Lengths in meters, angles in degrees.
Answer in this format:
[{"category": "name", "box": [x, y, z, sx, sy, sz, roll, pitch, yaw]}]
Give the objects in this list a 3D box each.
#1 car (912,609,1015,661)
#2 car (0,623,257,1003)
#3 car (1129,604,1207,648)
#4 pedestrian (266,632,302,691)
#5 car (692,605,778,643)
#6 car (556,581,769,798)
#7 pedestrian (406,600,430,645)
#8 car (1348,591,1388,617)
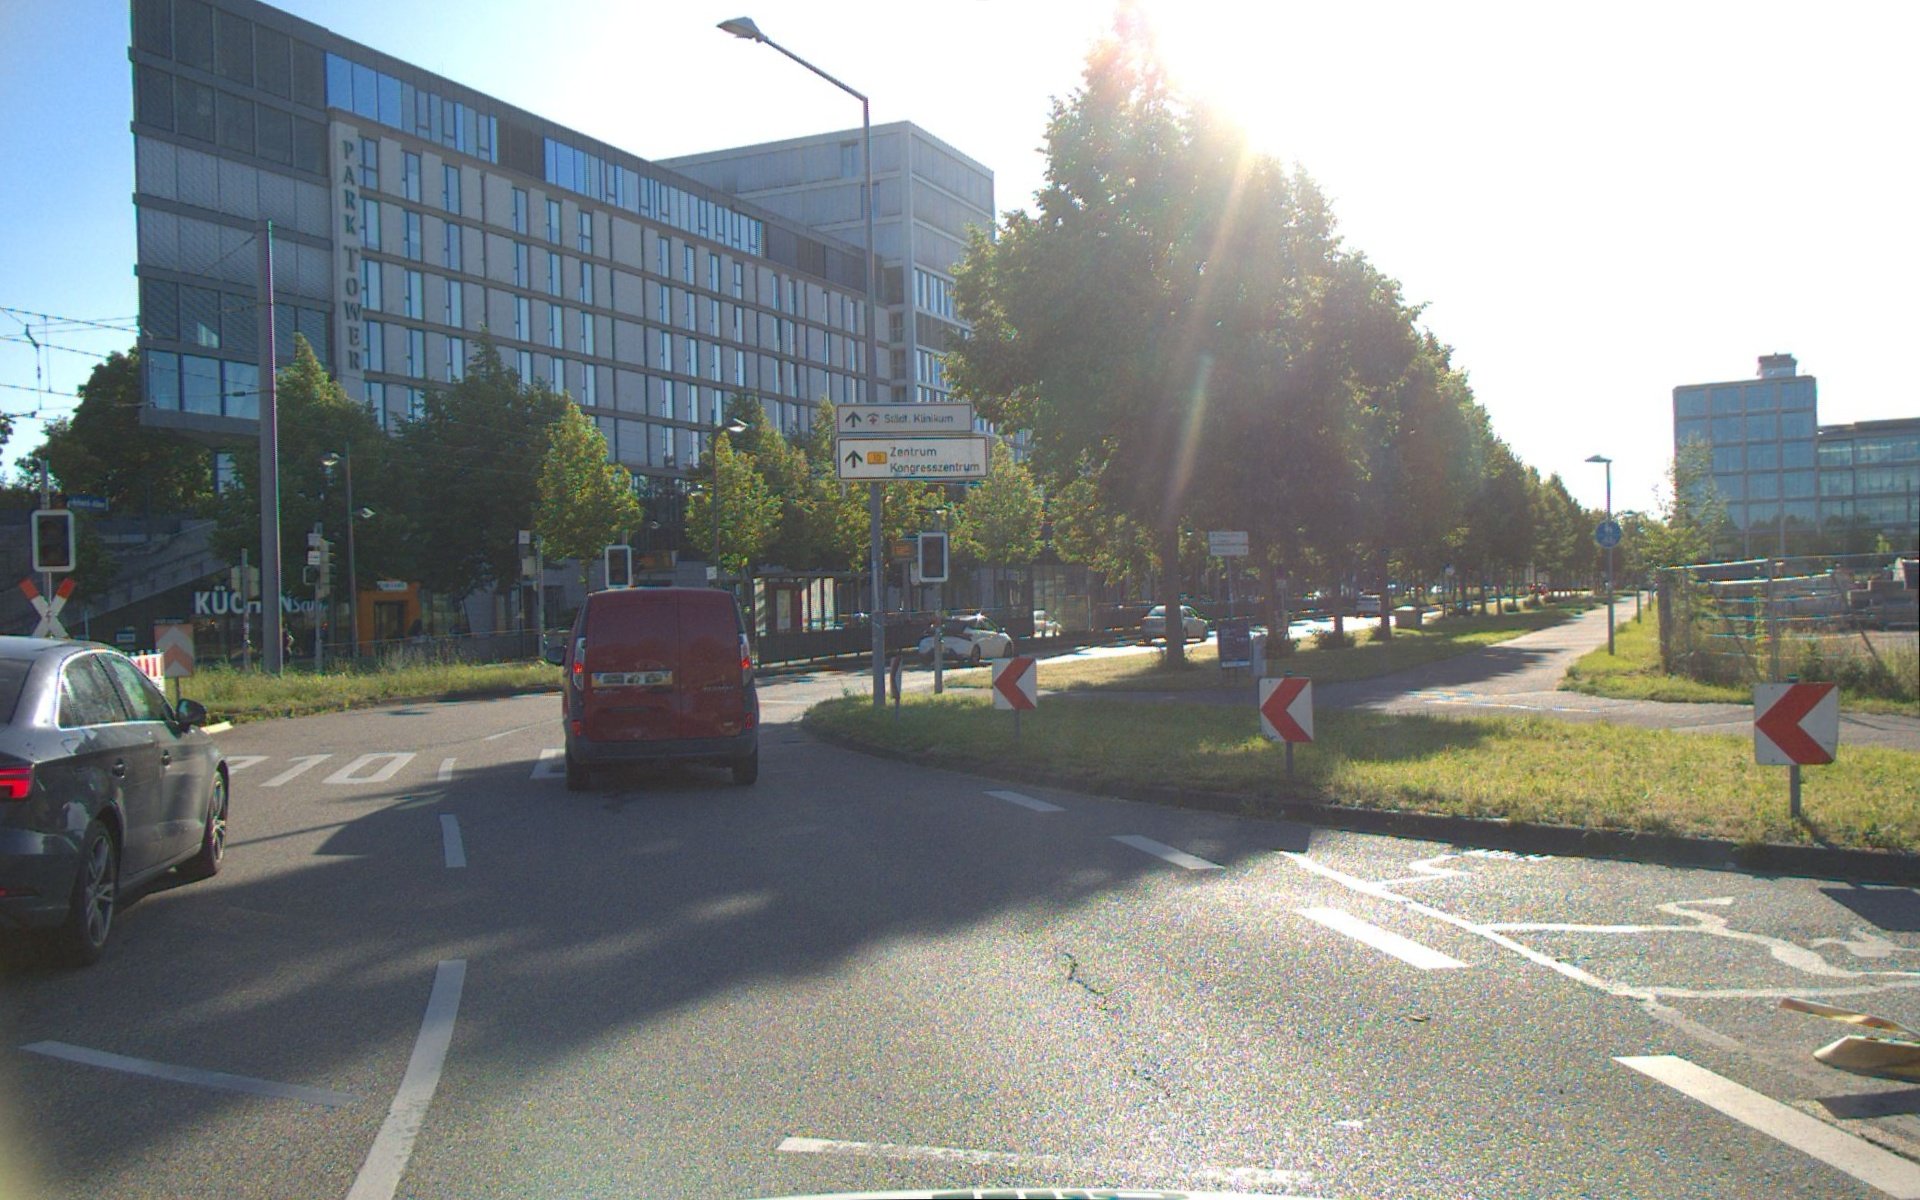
[{"category": "car", "box": [0.151, 1.015, 49.788, 1.766, 1.487, 3.808, 0, 0, 23]}, {"category": "car", "box": [-4.770, 0.865, 8.075, 1.730, 1.404, 4.343, -1, -1, -14]}, {"category": "car", "box": [8.513, 1.038, 67.258, 1.953, 1.602, 4.407, -2, 1, 24]}, {"category": "pedestrian", "box": [-17.653, 1.599, 43.222, 0.543, 1.492, 0.677, -1, 0, 21]}, {"category": "car", "box": [-10.043, 1.063, 74.107, 1.896, 1.602, 3.973, -1, 0, 26]}, {"category": "car", "box": [-3.003, 0.794, 16.153, 1.772, 1.845, 3.794, 0, -1, -15]}, {"category": "pedestrian", "box": [-25.038, 1.017, 76.441, 0.625, 2.049, 0.833, -1, 0, 25]}, {"category": "car", "box": [28.219, 0.260, 114.252, 1.953, 1.602, 4.407, -2, 1, 23]}]
